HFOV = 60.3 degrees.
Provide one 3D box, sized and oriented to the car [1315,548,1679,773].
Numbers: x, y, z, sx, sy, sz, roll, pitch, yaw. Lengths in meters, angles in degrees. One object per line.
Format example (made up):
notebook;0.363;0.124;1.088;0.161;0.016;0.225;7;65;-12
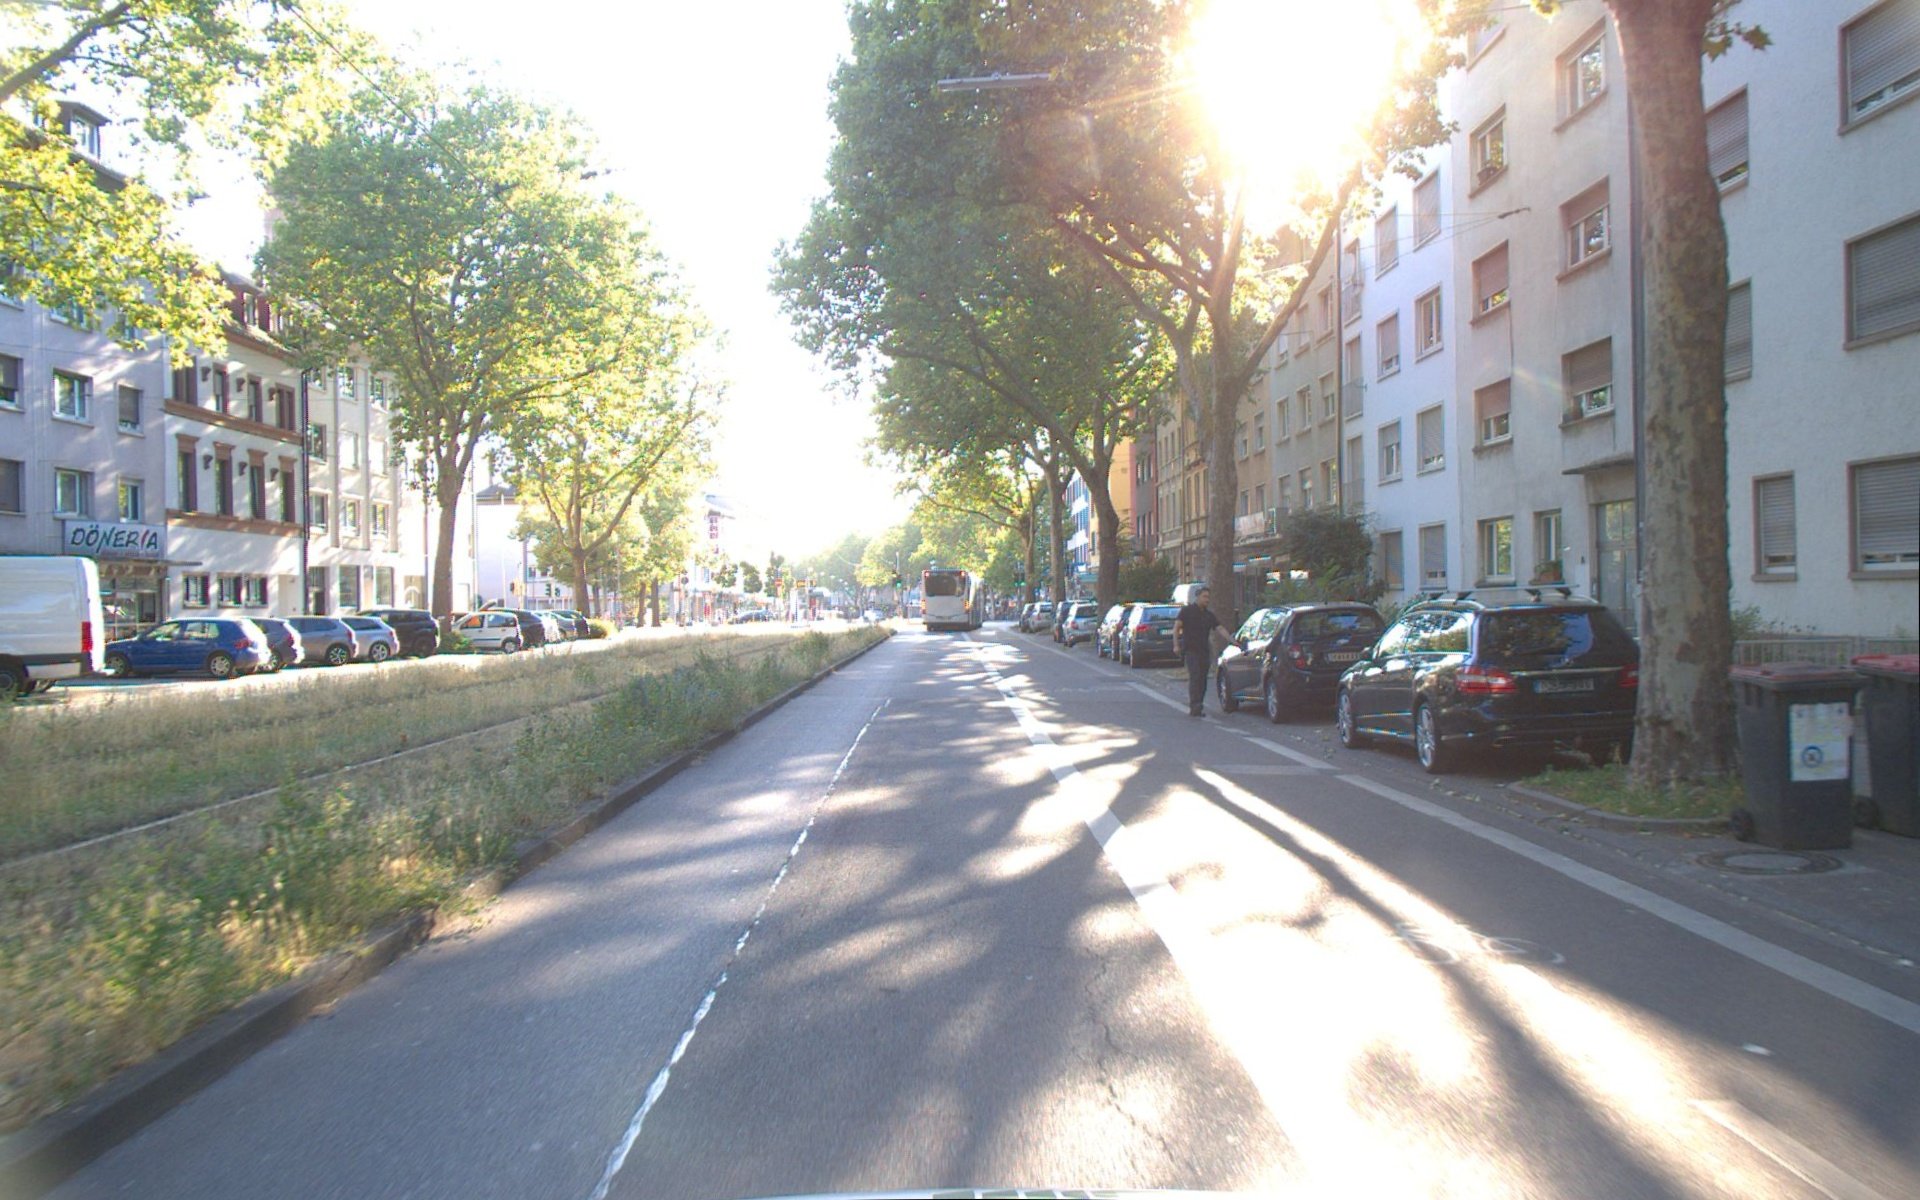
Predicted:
car;4.924;0.524;16.009;1.709;1.801;4.986;-1;-1;-2

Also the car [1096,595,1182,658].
car;4.666;0.667;43.591;1.745;1.542;3.999;-2;0;-1

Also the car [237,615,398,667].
car;-19.682;1.244;50.772;4.275;1.483;1.830;-1;-1;-42

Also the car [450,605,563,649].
car;-19.256;1.123;70.332;4.275;1.768;1.830;-1;-1;-42

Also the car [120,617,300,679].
car;-19.719;1.242;43.653;4.241;1.483;1.845;-1;-1;-24

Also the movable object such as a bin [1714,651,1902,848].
movable object such as a bin;5.088;0.876;9.964;0.660;1.064;0.879;-1;1;-1

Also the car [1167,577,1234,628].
car;9.249;0.122;63.943;1.845;1.892;4.324;-1;-1;-1

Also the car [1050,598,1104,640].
car;4.533;0.699;64.523;1.745;1.542;3.999;-2;0;-1

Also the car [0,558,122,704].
car;-19.831;0.630;31.336;6.841;2.725;2.171;-1;-1;-22

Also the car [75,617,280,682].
car;-19.400;1.203;41.168;4.216;1.483;1.856;-1;-1;-7

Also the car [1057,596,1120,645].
car;4.351;0.673;56.563;1.745;1.542;3.999;-2;0;-1

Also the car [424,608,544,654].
car;-19.112;1.237;66.493;4.275;1.768;1.830;-1;-1;-42

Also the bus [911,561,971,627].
bus;-1.071;-0.256;88.891;2.777;3.292;8.176;-1;-1;-4

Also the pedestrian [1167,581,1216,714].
pedestrian;3.201;0.646;22.890;0.565;1.811;0.514;-1;0;-1

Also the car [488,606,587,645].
car;-20.240;1.193;79.290;4.275;1.768;1.830;-1;-1;-42

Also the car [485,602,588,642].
car;-19.575;1.013;76.575;4.275;1.768;1.830;-1;-1;-42

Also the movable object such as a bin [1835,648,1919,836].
movable object such as a bin;5.936;0.849;10.194;0.597;1.066;0.848;-1;0;-1

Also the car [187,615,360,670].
car;-19.781;1.208;47.742;4.275;1.483;1.830;-1;-1;-42

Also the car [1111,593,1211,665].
car;4.645;0.640;38.654;1.745;1.542;3.999;-2;0;-1

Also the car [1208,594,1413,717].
car;4.733;0.731;22.881;1.653;1.512;3.995;-1;-1;-5

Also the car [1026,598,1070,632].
car;4.184;0.683;79.116;1.745;1.542;3.999;-2;0;-1

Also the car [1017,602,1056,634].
car;3.953;0.922;85.583;1.745;1.542;3.999;-2;0;-1

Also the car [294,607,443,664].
car;-19.482;1.146;54.531;4.275;1.768;1.830;-1;-1;-42
